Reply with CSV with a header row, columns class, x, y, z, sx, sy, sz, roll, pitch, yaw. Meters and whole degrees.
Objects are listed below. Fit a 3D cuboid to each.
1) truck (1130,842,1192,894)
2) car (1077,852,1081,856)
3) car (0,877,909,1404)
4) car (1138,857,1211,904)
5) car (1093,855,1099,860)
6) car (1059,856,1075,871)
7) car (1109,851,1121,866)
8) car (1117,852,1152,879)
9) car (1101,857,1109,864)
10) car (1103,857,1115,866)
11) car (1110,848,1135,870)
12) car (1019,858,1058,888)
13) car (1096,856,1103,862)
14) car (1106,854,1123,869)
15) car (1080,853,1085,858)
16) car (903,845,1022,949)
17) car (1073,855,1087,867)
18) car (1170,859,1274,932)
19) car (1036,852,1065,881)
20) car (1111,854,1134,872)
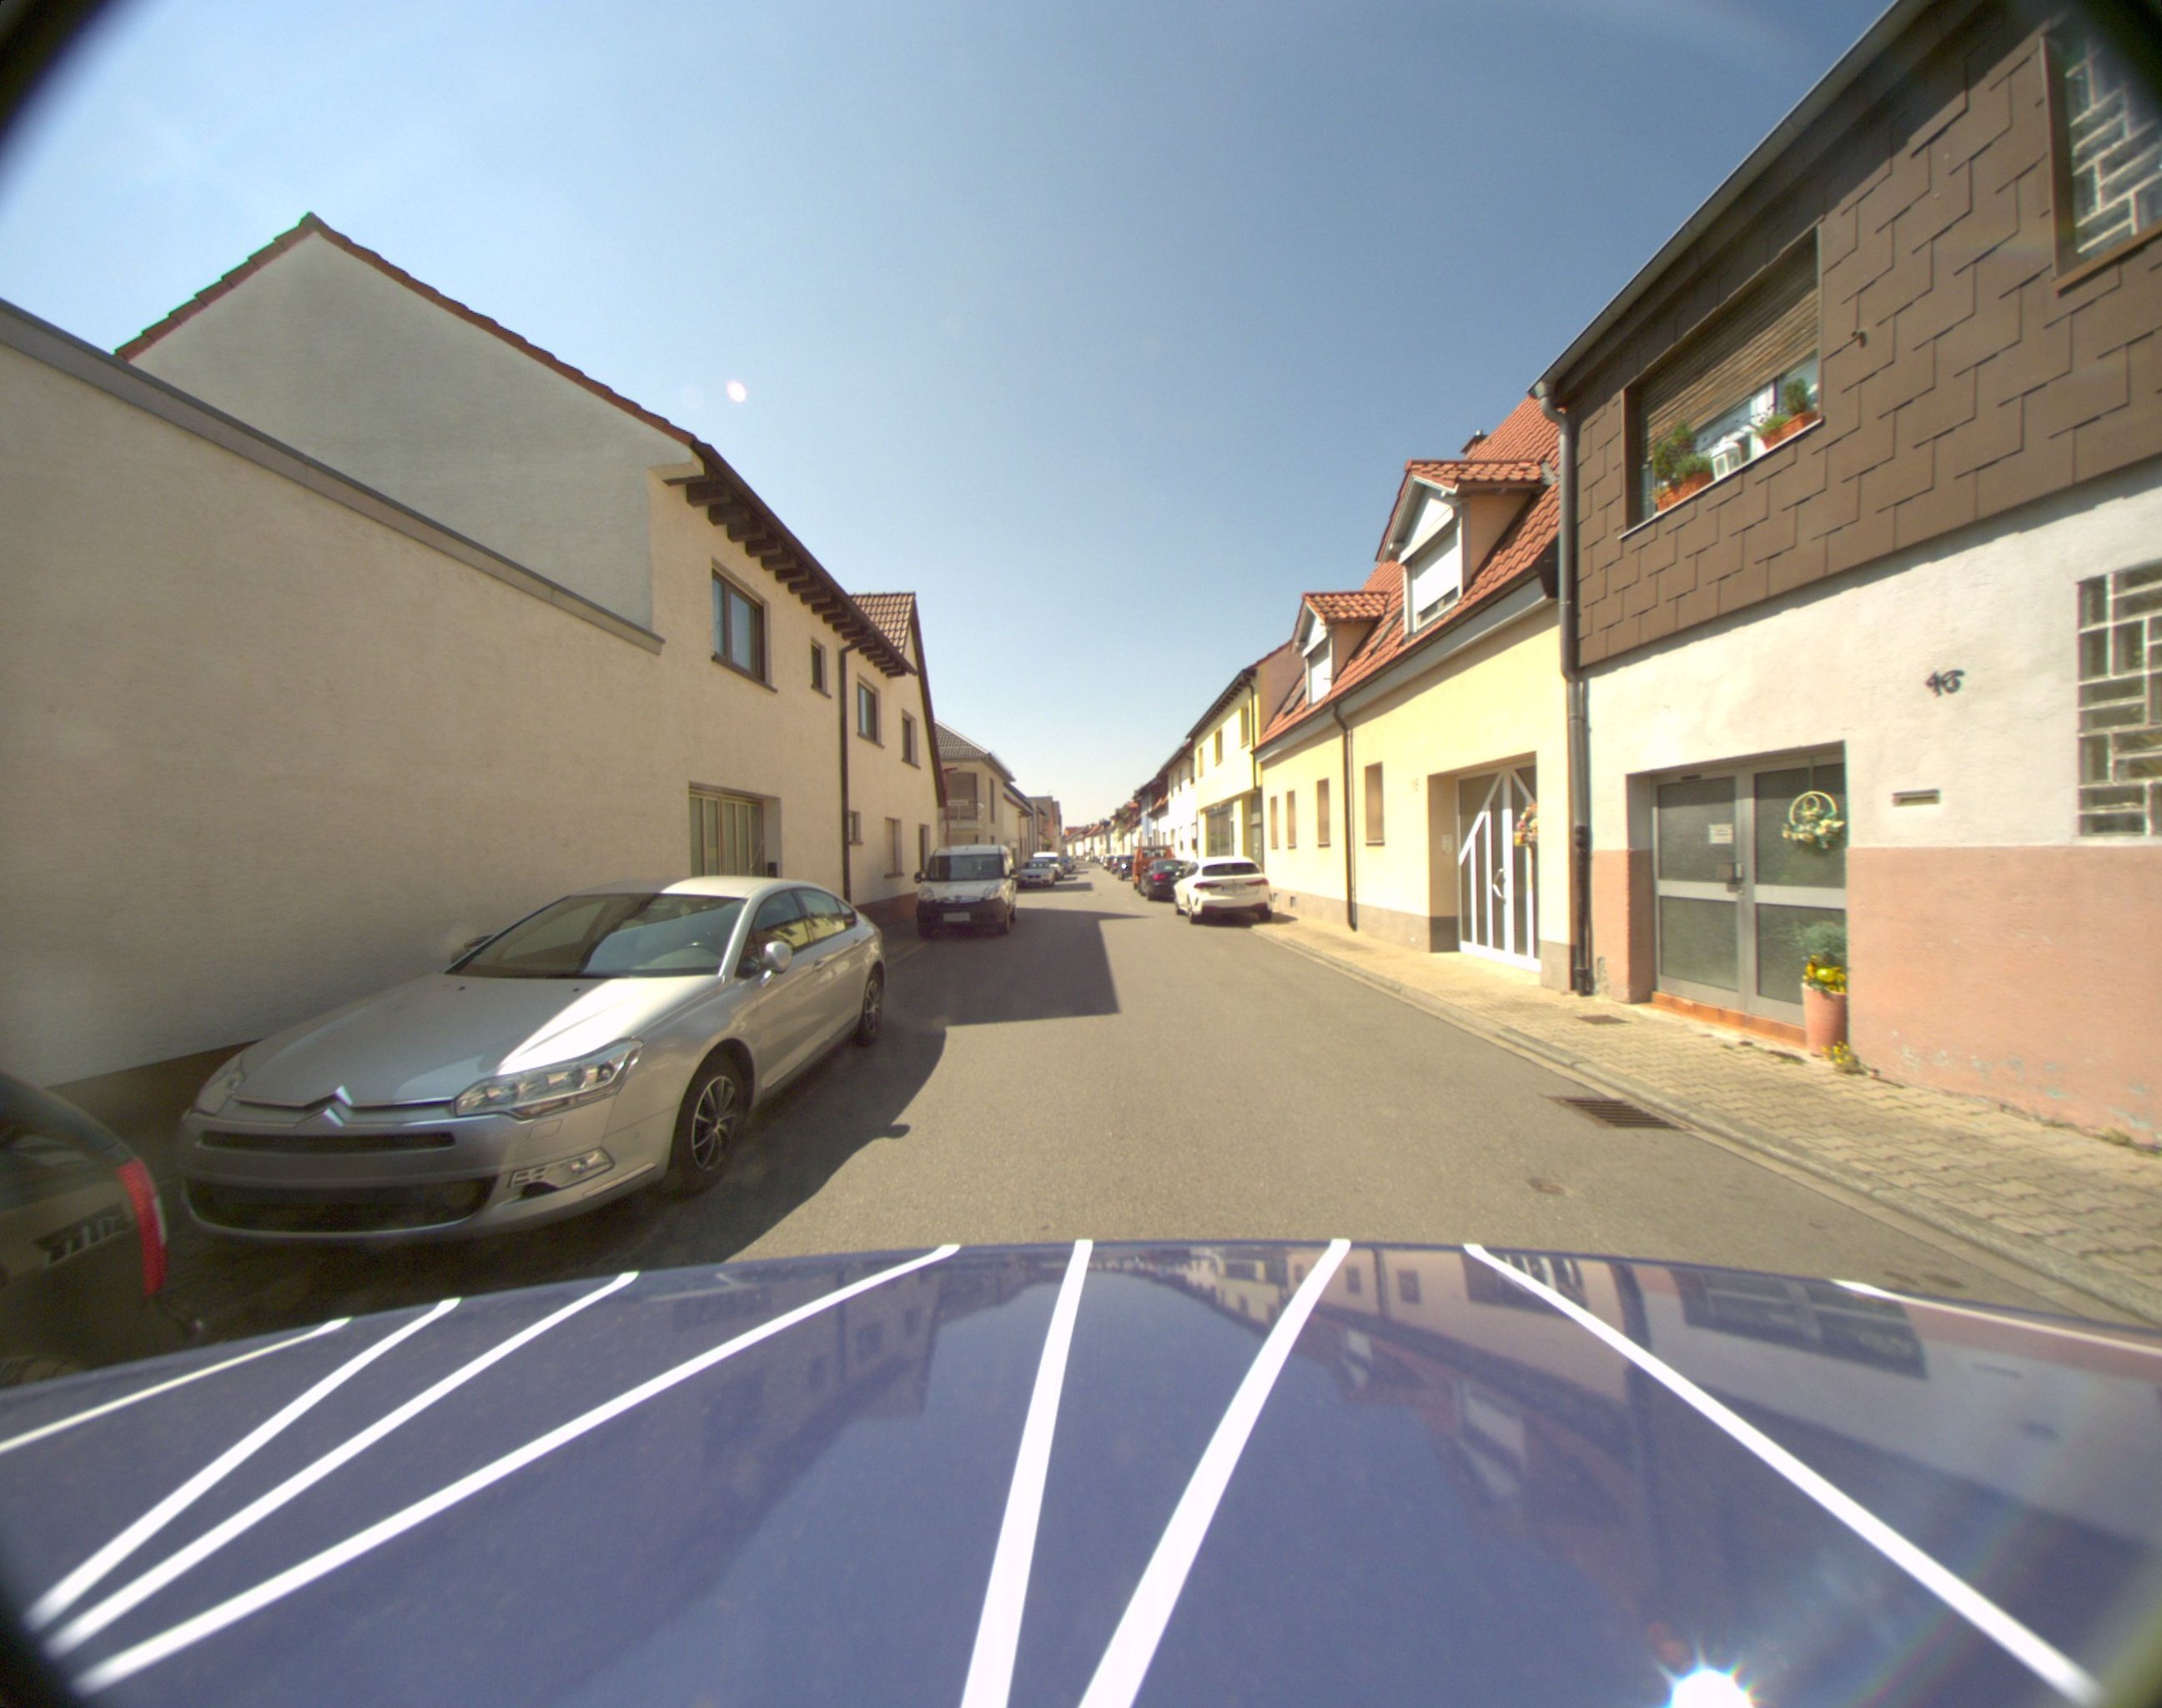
class,x,y,z,sx,sy,sz,roll,pitch,yaw
truck,3.288,0.527,32.156,2.188,2.002,5.079,-1,1,1
car,-0.656,0.012,234.982,1.295,1.177,2.963,-1,0,1
car,-2.599,0.995,4.898,1.795,1.473,4.933,1,1,1
car,3.163,0.845,26.574,1.927,1.386,4.630,2,1,0
car,3.188,0.746,166.809,1.295,1.177,2.963,-1,0,1
car,-1.345,0.914,75.366,1.521,1.417,3.863,-1,0,-1
car,4.275,0.568,95.675,1.295,1.820,2.963,-1,0,1
car,3.267,0.681,47.345,1.849,1.604,4.000,-1,0,-1
car,4.130,1.066,129.456,1.295,1.177,2.963,-1,0,1
car,3.229,0.888,88.298,1.295,1.070,2.764,-1,0,1
car,3.955,0.428,72.794,1.999,2.002,3.998,-1,2,-3
car,-2.119,0.935,38.883,1.638,1.360,3.927,-3,1,1
car,3.480,0.906,144.050,1.295,1.177,2.963,-1,0,1
car,3.583,0.824,82.127,1.677,1.565,4.108,-1,0,0
car,0.325,0.395,214.707,1.295,1.177,2.963,-1,0,1
car,-2.351,0.766,16.316,1.814,1.814,4.849,-3,1,-2
car,-0.117,0.878,99.627,1.849,1.523,3.548,-1,0,-1
car,3.223,0.883,18.122,1.787,1.445,4.215,-1,1,2
car,-1.904,0.748,48.108,1.684,1.719,3.786,-1,0,-1
car,3.523,0.751,64.651,1.724,1.493,4.215,-1,0,0
